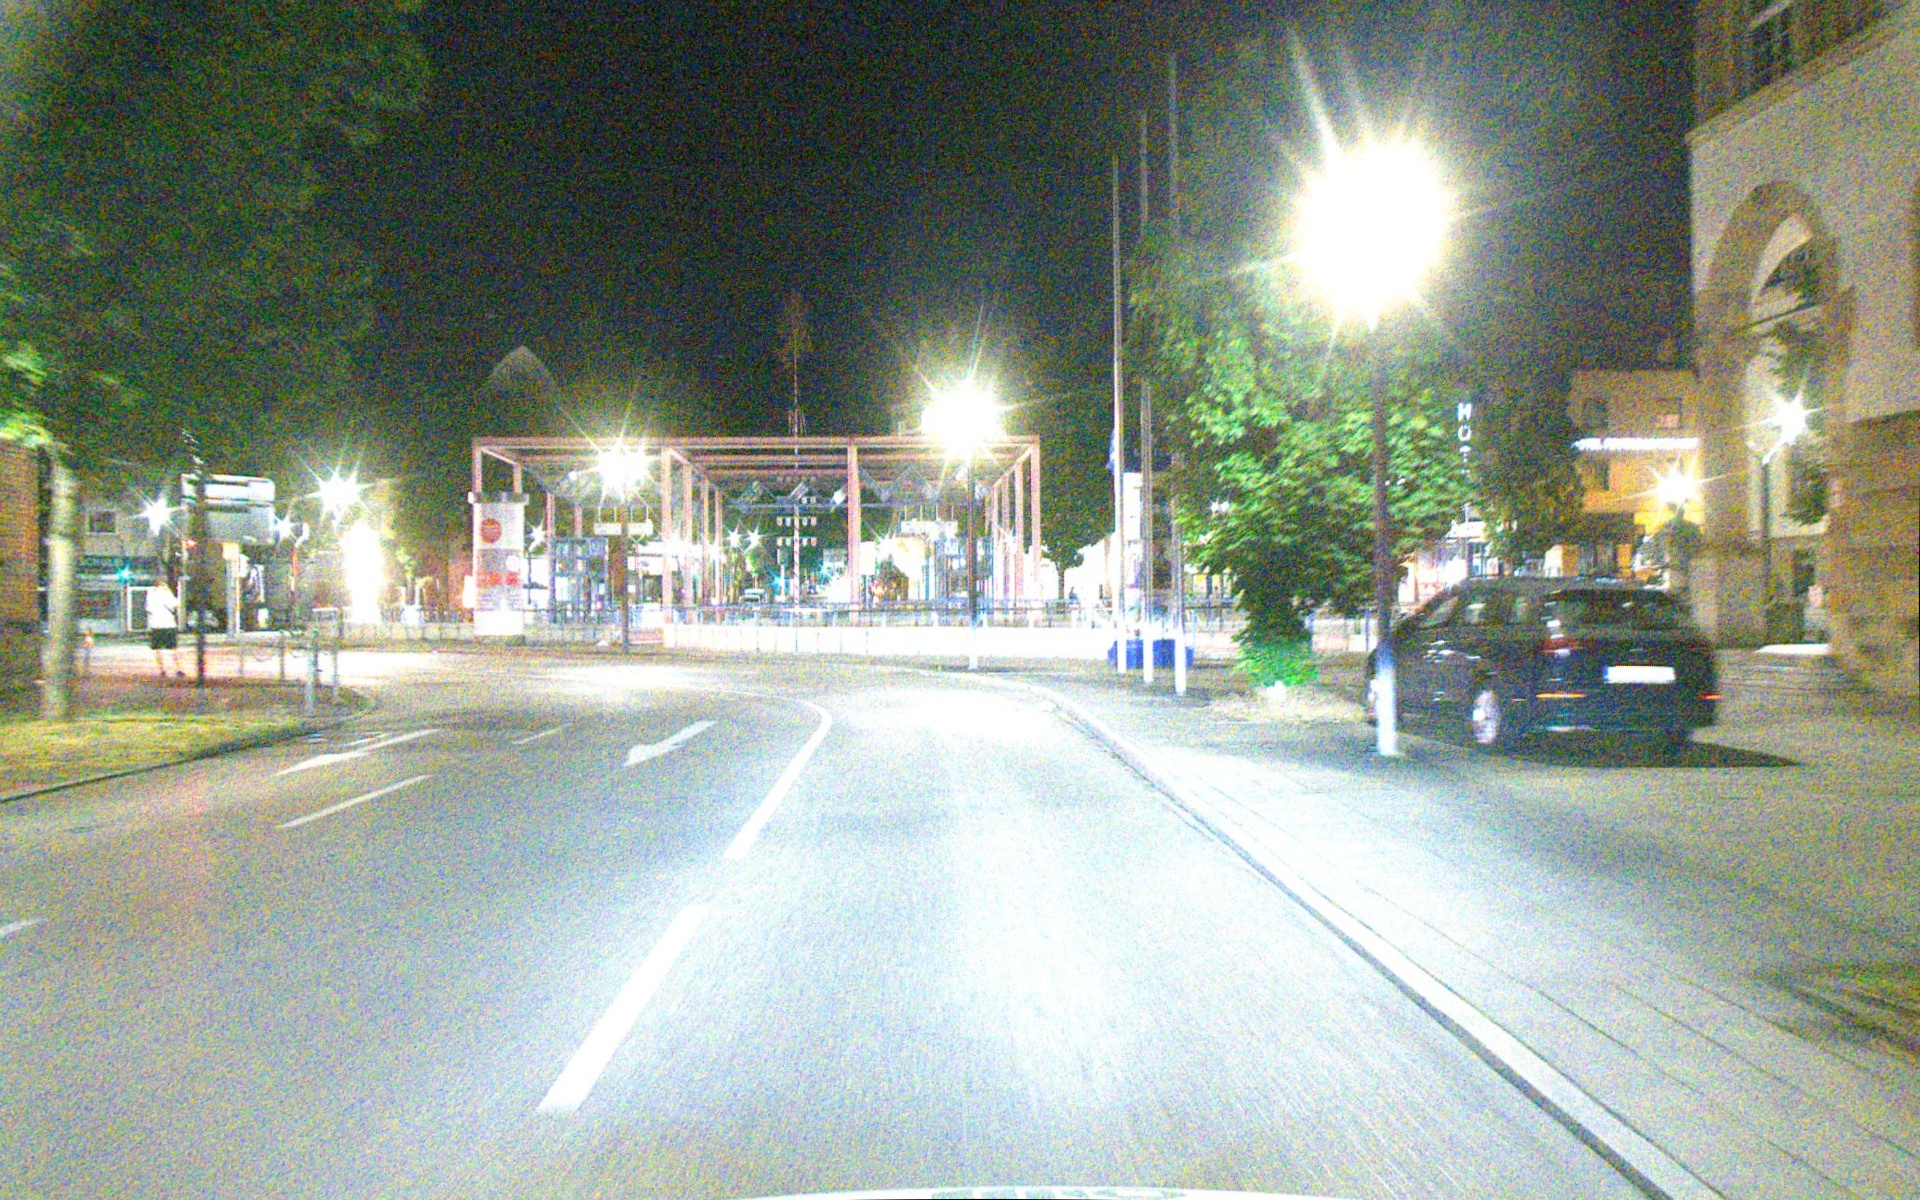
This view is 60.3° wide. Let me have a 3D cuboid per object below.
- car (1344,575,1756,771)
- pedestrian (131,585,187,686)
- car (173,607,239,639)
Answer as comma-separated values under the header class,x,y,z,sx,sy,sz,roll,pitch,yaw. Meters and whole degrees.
class,x,y,z,sx,sy,sz,roll,pitch,yaw
car,5.092,0.554,15.067,1.700,1.485,4.722,0,0,-5
pedestrian,-14.946,0.655,30.868,0.680,1.854,0.721,-1,-2,42
car,-38.653,1.176,84.761,1.986,1.601,3.594,-1,0,-45
